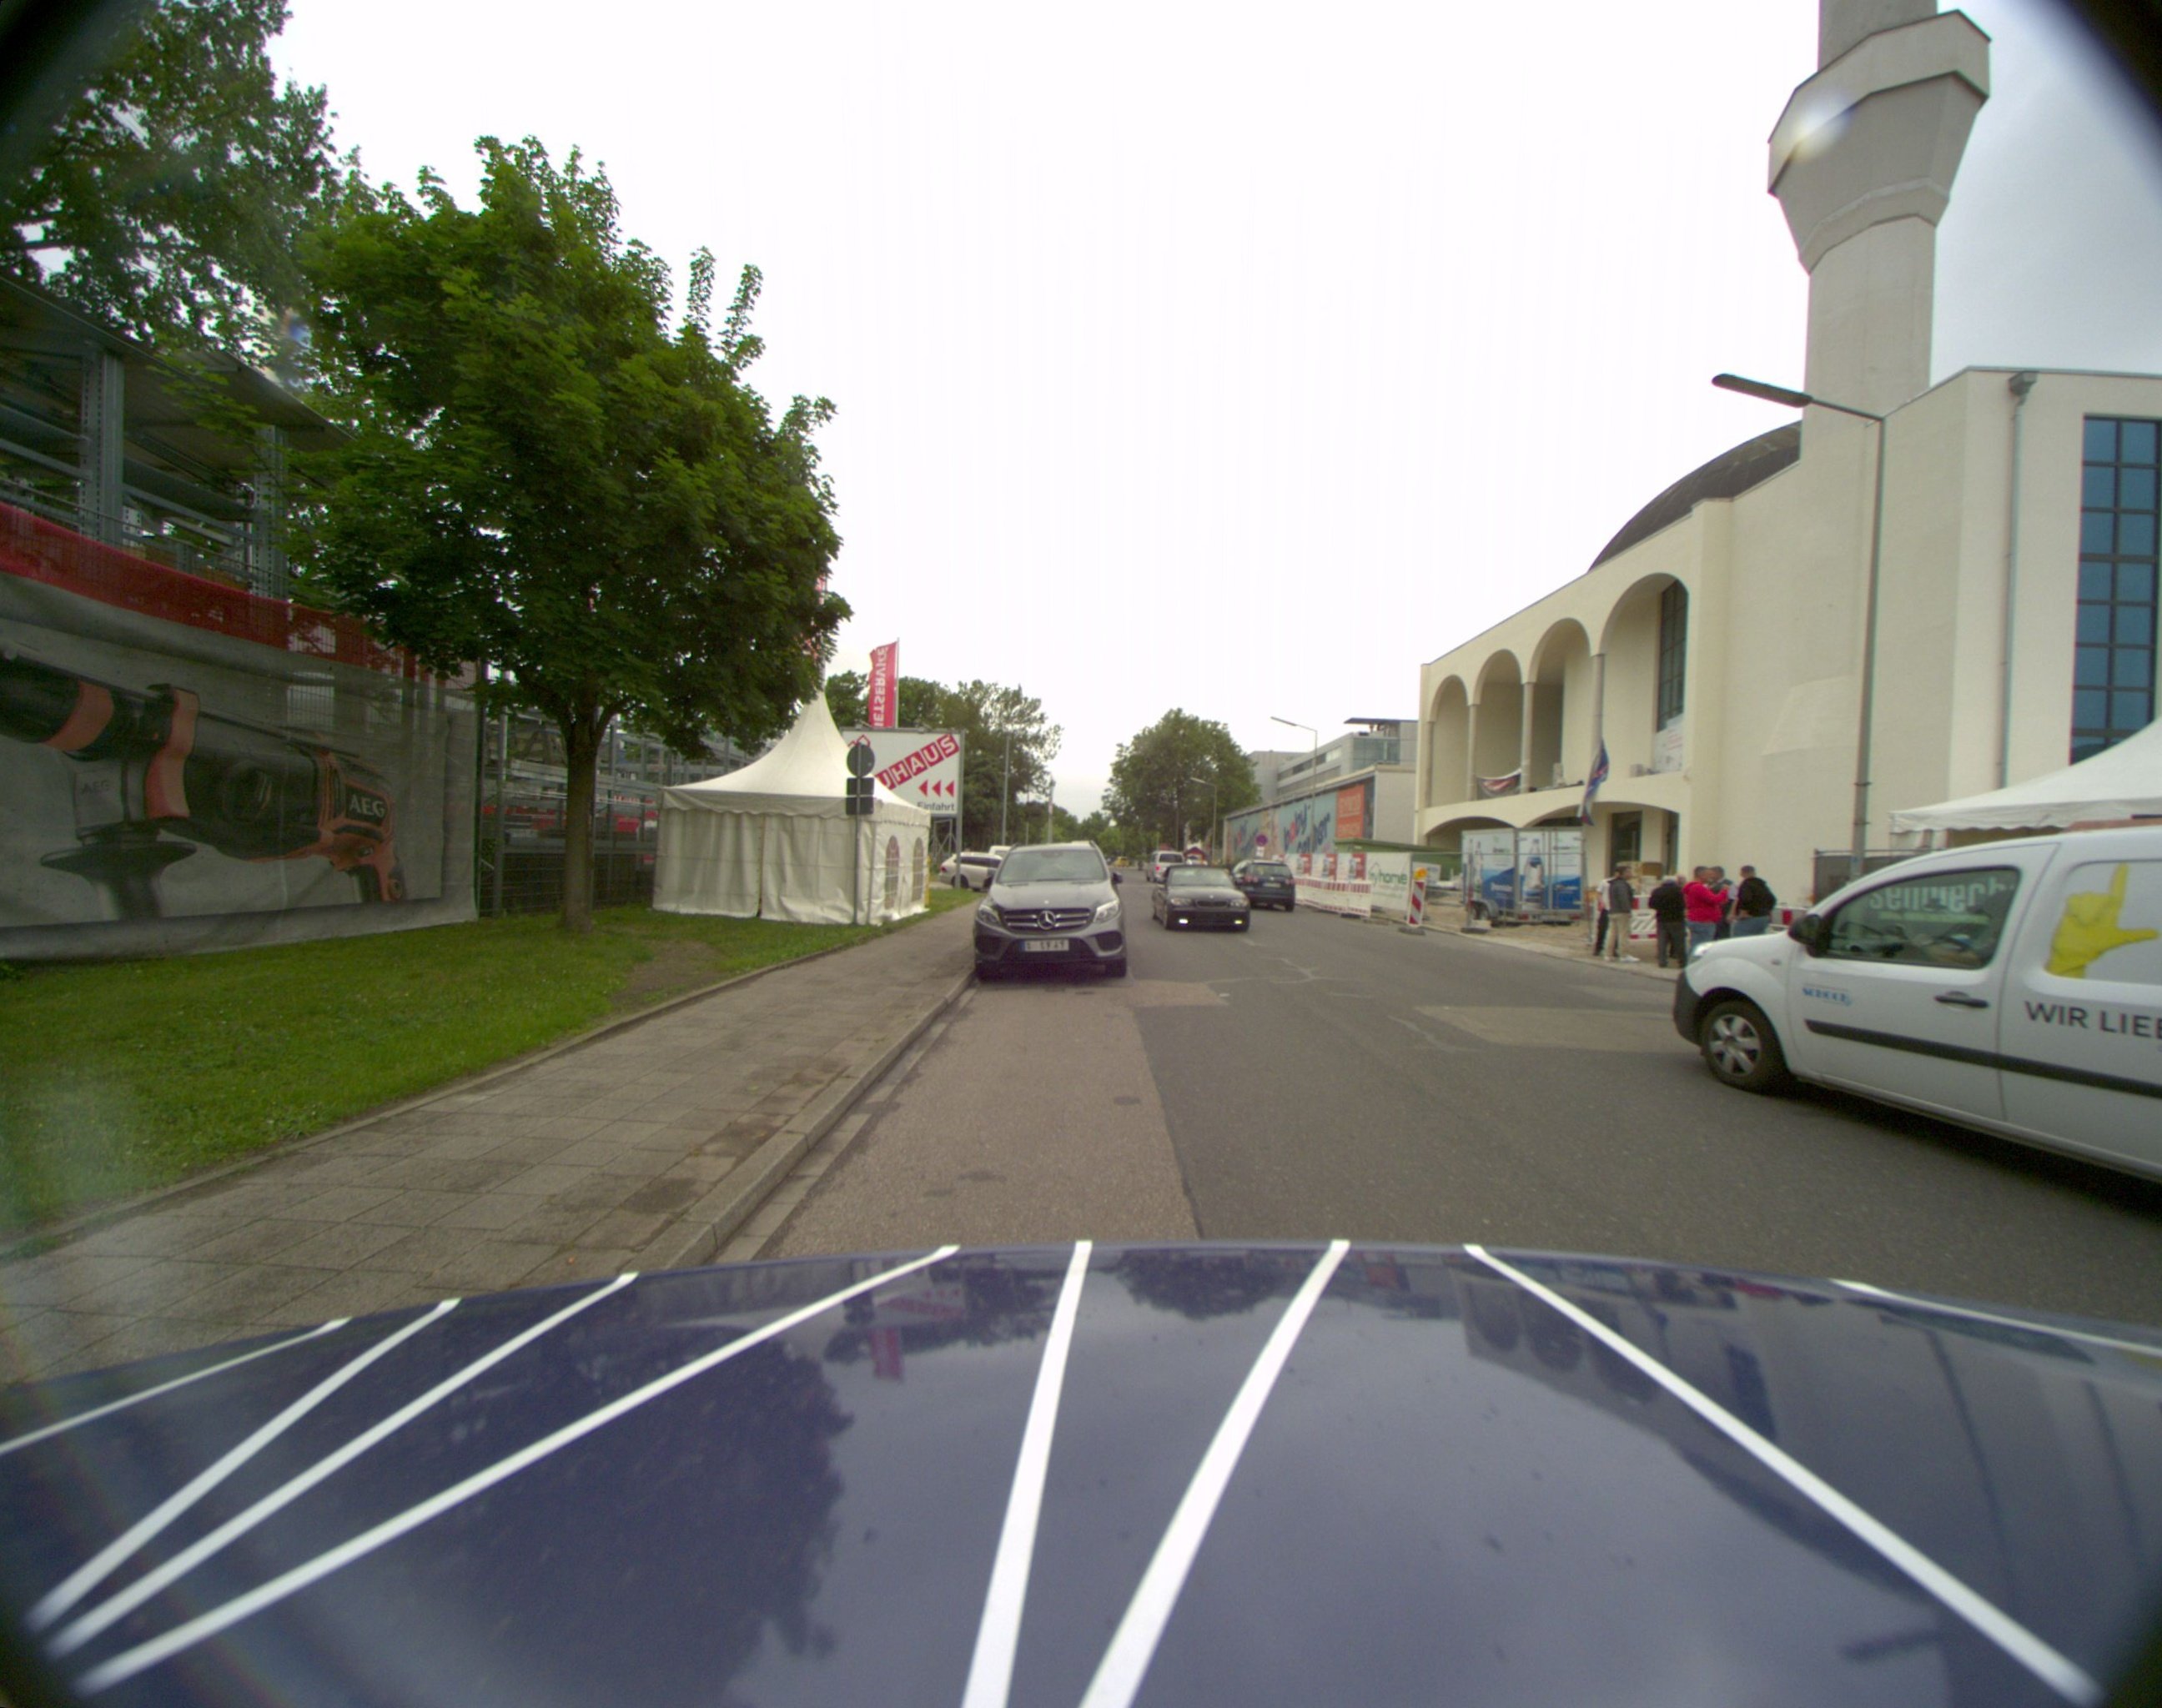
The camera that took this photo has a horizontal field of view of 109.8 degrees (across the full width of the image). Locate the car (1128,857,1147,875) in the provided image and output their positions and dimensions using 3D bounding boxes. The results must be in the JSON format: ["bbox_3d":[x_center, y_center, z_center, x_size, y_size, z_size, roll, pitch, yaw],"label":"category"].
[{"bbox_3d":[6.714,1.426,90.969,1.998,2.002,3.999,0,1,1],"label":"car"}]

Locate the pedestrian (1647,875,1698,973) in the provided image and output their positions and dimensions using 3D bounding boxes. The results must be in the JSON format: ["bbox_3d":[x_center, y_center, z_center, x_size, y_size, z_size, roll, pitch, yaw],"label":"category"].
[{"bbox_3d":[10.157,1.176,13.049,0.492,1.602,0.570,1,1,-44],"label":"pedestrian"}]

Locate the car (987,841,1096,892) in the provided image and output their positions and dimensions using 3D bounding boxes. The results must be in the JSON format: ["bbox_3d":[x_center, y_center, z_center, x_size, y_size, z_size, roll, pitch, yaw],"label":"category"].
[{"bbox_3d":[-1.624,0.513,32.286,4.380,1.797,1.800,4,1,-1],"label":"car"}]

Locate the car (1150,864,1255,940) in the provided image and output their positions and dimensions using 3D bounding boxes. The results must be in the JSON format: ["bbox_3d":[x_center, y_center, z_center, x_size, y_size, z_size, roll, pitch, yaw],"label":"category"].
[{"bbox_3d":[2.554,0.964,16.910,1.750,1.351,4.137,0,1,1],"label":"car"}]

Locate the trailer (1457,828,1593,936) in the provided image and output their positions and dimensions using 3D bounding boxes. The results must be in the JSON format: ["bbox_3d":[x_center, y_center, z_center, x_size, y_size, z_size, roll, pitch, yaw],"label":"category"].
[{"bbox_3d":[11.714,0.680,20.298,1.802,2.591,3.192,2,0,4],"label":"trailer"}]

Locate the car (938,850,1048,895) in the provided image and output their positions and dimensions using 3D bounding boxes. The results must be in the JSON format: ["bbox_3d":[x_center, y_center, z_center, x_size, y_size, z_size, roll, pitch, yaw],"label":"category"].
[{"bbox_3d":[-3.305,0.670,28.704,3.681,1.575,1.779,1,1,19],"label":"car"}]

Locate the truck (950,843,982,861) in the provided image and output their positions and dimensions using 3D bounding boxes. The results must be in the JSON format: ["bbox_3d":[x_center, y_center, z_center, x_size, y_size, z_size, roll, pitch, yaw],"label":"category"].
[{"bbox_3d":[-16.001,-0.283,106.031,1.994,2.383,4.009,2,1,40],"label":"truck"}]

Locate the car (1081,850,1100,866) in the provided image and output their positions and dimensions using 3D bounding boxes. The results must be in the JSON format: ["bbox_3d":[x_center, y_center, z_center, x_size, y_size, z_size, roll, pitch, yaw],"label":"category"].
[{"bbox_3d":[1.111,0.439,85.232,1.998,1.739,4.000,2,0,1],"label":"car"}]

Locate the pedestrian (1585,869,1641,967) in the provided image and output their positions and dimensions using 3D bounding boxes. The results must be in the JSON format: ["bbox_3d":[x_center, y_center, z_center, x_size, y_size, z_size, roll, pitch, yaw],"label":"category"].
[{"bbox_3d":[9.822,1.161,14.029,0.492,1.739,0.689,1,1,-44],"label":"pedestrian"}]

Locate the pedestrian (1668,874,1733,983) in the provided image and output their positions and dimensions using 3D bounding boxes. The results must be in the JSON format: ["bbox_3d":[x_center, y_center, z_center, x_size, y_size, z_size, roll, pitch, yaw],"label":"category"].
[{"bbox_3d":[9.547,1.137,11.723,0.491,1.602,0.539,3,1,-27],"label":"pedestrian"}]

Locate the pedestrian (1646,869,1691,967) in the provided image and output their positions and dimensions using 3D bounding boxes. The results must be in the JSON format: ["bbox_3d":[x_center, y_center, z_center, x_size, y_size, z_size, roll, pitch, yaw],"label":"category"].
[{"bbox_3d":[10.864,1.168,14.044,0.492,1.739,0.527,1,1,-44],"label":"pedestrian"}]

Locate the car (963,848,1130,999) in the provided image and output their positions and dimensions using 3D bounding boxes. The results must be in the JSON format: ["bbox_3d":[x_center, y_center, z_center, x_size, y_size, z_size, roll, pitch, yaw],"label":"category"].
[{"bbox_3d":[-0.349,0.803,11.101,1.913,1.731,4.480,-1,0,1],"label":"car"}]

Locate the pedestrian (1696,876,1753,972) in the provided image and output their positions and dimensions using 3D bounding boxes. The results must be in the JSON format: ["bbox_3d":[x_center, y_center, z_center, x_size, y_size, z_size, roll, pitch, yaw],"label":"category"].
[{"bbox_3d":[11.133,1.190,13.160,0.540,1.602,0.491,0,1,7],"label":"pedestrian"}]

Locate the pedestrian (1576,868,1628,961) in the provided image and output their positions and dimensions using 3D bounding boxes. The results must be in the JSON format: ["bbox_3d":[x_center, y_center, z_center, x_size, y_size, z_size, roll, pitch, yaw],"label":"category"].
[{"bbox_3d":[10.141,1.151,14.800,0.492,1.739,0.689,1,1,-44],"label":"pedestrian"}]

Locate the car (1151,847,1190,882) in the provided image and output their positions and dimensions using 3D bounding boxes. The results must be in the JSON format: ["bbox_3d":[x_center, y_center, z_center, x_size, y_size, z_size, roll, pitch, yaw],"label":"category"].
[{"bbox_3d":[5.659,0.603,48.549,1.931,2.002,4.955,2,1,1],"label":"car"}]

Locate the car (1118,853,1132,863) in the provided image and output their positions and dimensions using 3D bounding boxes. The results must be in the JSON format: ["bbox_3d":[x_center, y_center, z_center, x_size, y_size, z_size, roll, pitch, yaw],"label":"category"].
[{"bbox_3d":[7.014,0.603,121.343,1.929,1.565,4.000,3,0,2],"label":"car"}]

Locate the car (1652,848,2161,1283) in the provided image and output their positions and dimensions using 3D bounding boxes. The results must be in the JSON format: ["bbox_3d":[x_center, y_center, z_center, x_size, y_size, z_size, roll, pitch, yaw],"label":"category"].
[{"bbox_3d":[5.247,0.881,3.786,1.694,1.750,4.135,2,0,1],"label":"car"}]

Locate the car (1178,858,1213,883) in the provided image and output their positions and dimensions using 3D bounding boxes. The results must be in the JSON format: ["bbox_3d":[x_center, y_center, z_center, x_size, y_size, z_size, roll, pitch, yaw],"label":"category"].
[{"bbox_3d":[8.375,1.203,55.935,1.929,1.565,4.149,5,0,2],"label":"car"}]

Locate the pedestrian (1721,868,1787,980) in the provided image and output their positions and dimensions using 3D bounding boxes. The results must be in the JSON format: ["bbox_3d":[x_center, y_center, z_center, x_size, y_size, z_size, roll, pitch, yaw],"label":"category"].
[{"bbox_3d":[10.719,1.089,12.099,0.694,1.707,0.689,-2,-2,45],"label":"pedestrian"}]

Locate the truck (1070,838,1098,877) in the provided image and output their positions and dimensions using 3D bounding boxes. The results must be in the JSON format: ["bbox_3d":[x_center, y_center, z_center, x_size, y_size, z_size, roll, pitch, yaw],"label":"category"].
[{"bbox_3d":[0.246,0.247,53.693,1.853,2.597,4.000,-1,0,0],"label":"truck"}]

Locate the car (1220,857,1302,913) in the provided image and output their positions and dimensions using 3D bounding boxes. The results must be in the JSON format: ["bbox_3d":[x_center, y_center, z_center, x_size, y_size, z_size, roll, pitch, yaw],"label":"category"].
[{"bbox_3d":[5.811,0.956,25.003,1.733,1.562,3.946,3,0,1],"label":"car"}]
